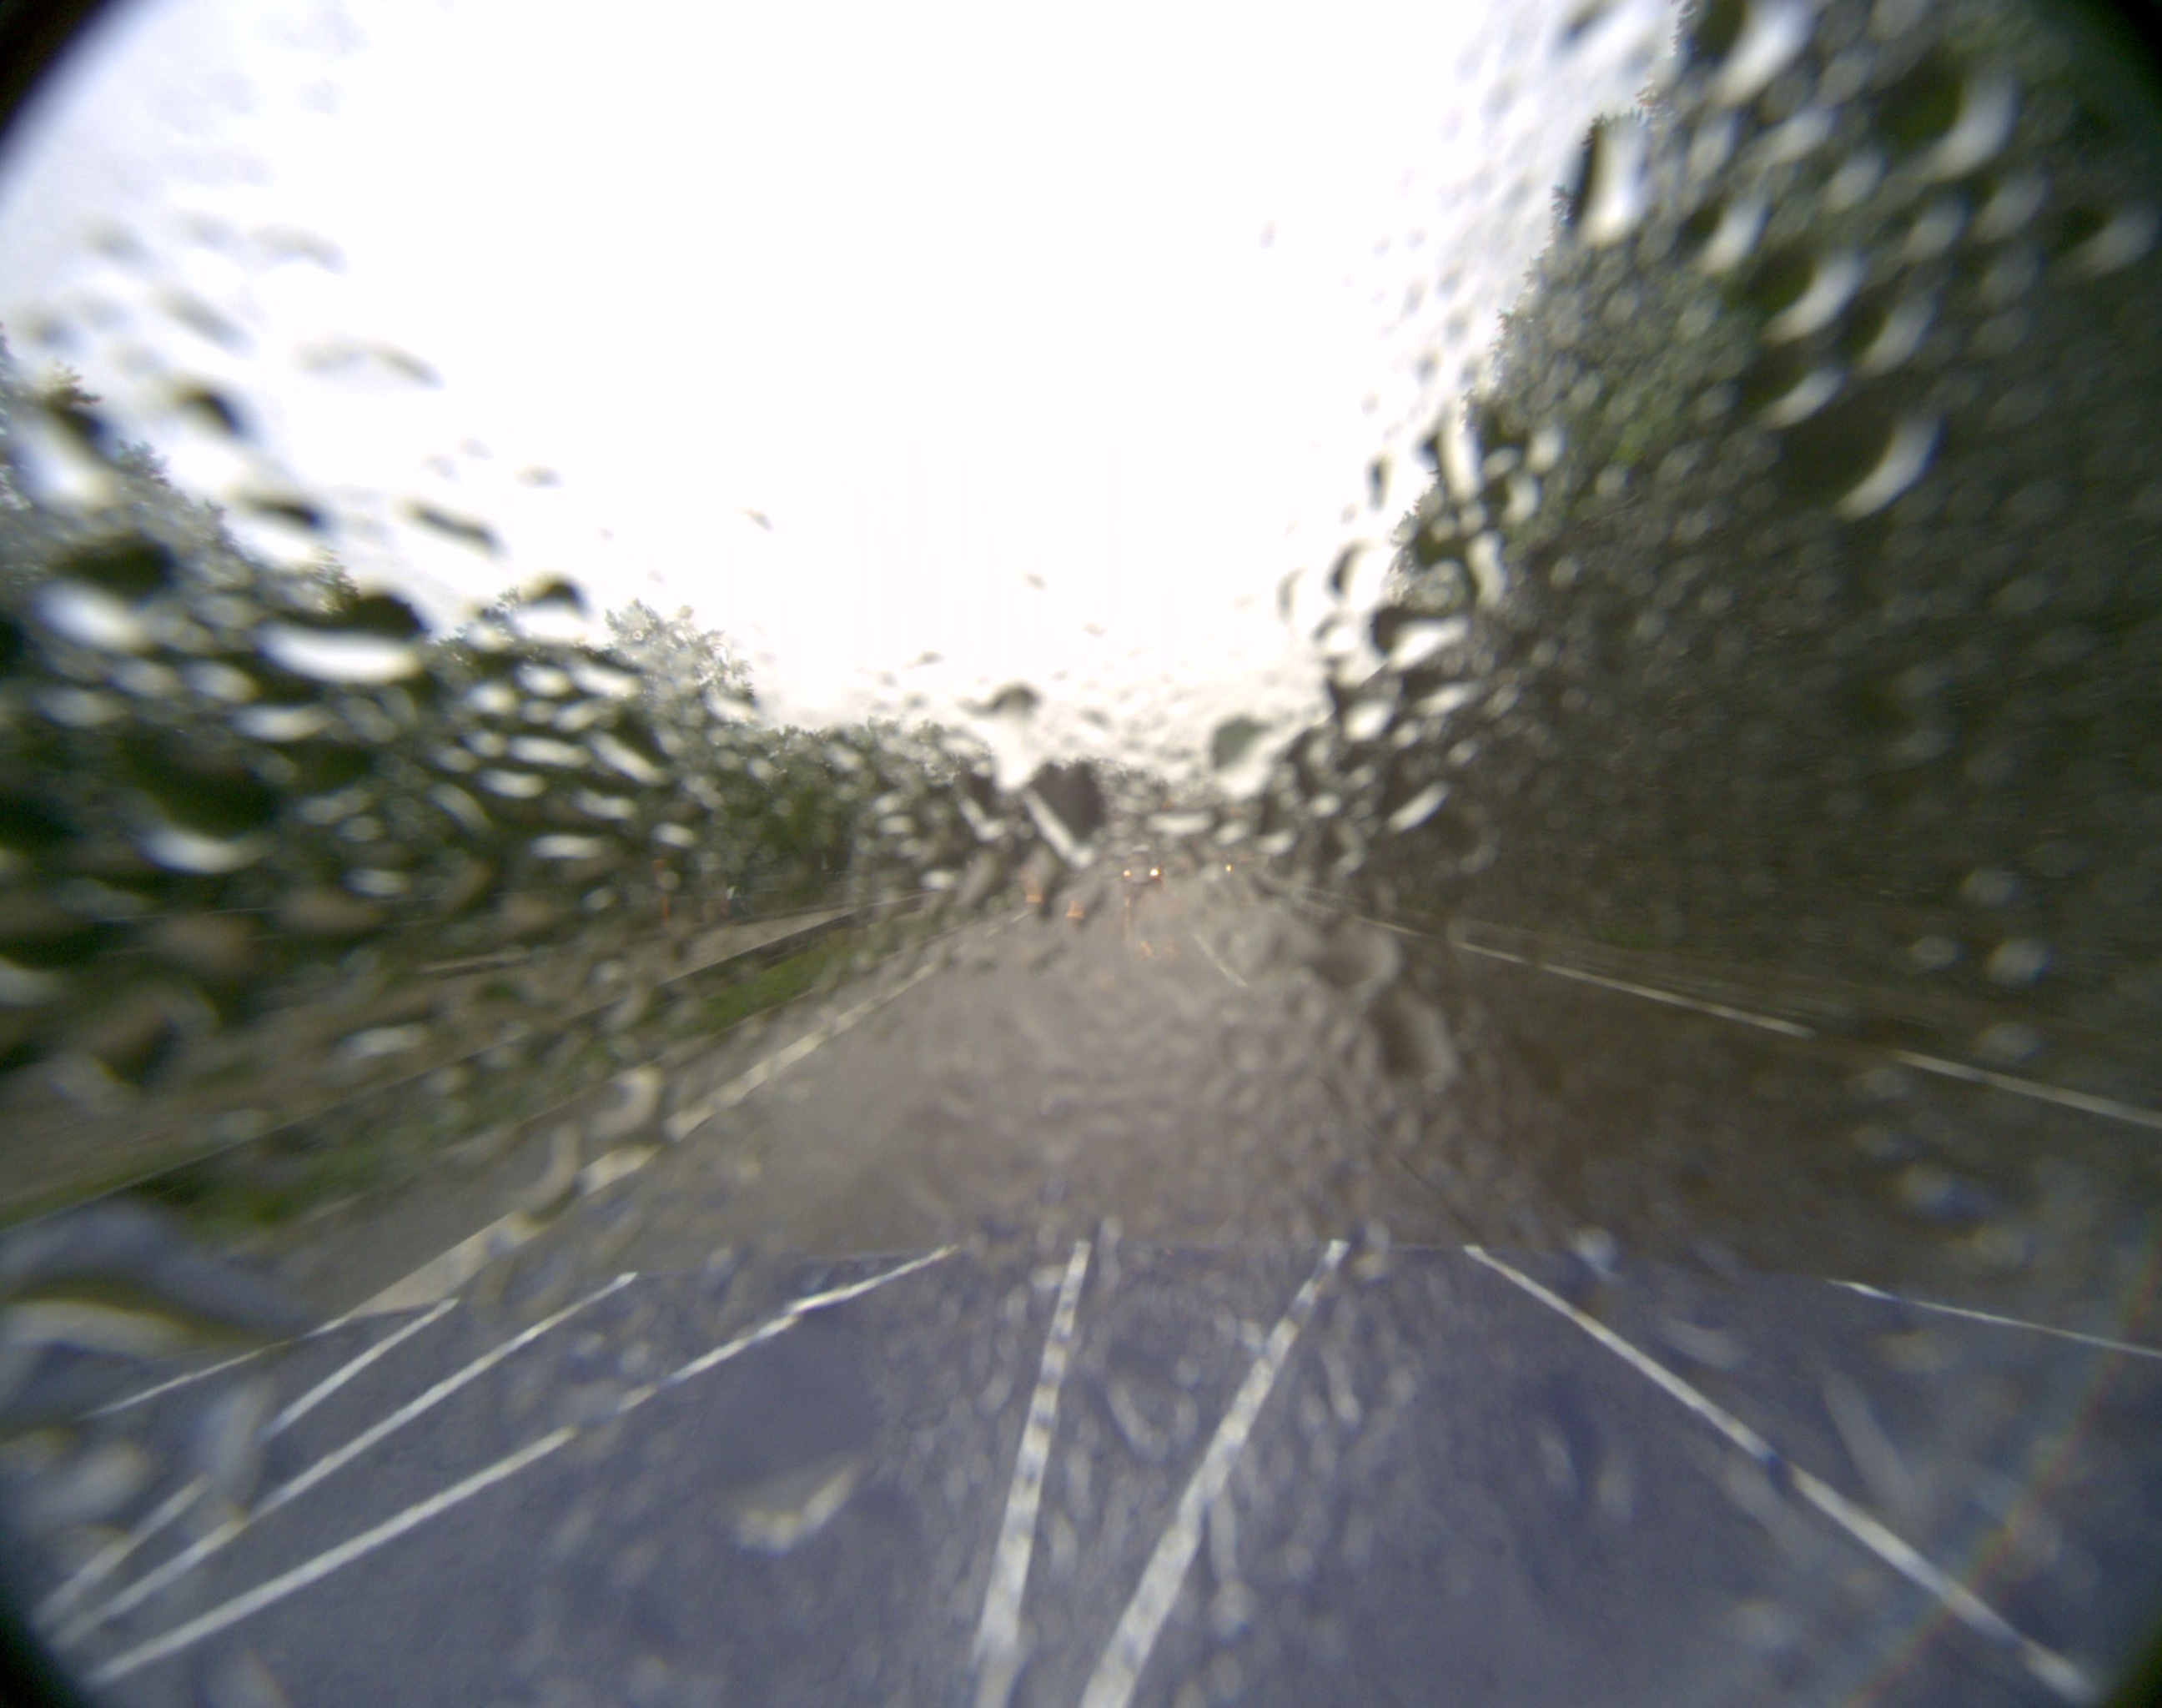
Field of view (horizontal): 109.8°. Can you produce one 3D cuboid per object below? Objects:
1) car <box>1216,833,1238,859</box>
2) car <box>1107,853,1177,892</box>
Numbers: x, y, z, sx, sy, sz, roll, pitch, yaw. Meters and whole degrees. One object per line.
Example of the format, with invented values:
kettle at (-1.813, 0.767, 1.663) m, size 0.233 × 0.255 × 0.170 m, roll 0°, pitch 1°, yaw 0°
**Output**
car at (17.449, -1.032, 90.858) m, size 1.739 × 3.008 × 4.005 m, roll -1°, pitch 1°, yaw 22°
car at (2.856, 0.756, 34.223) m, size 2.357 × 1.549 × 5.504 m, roll -1°, pitch 0°, yaw 13°
